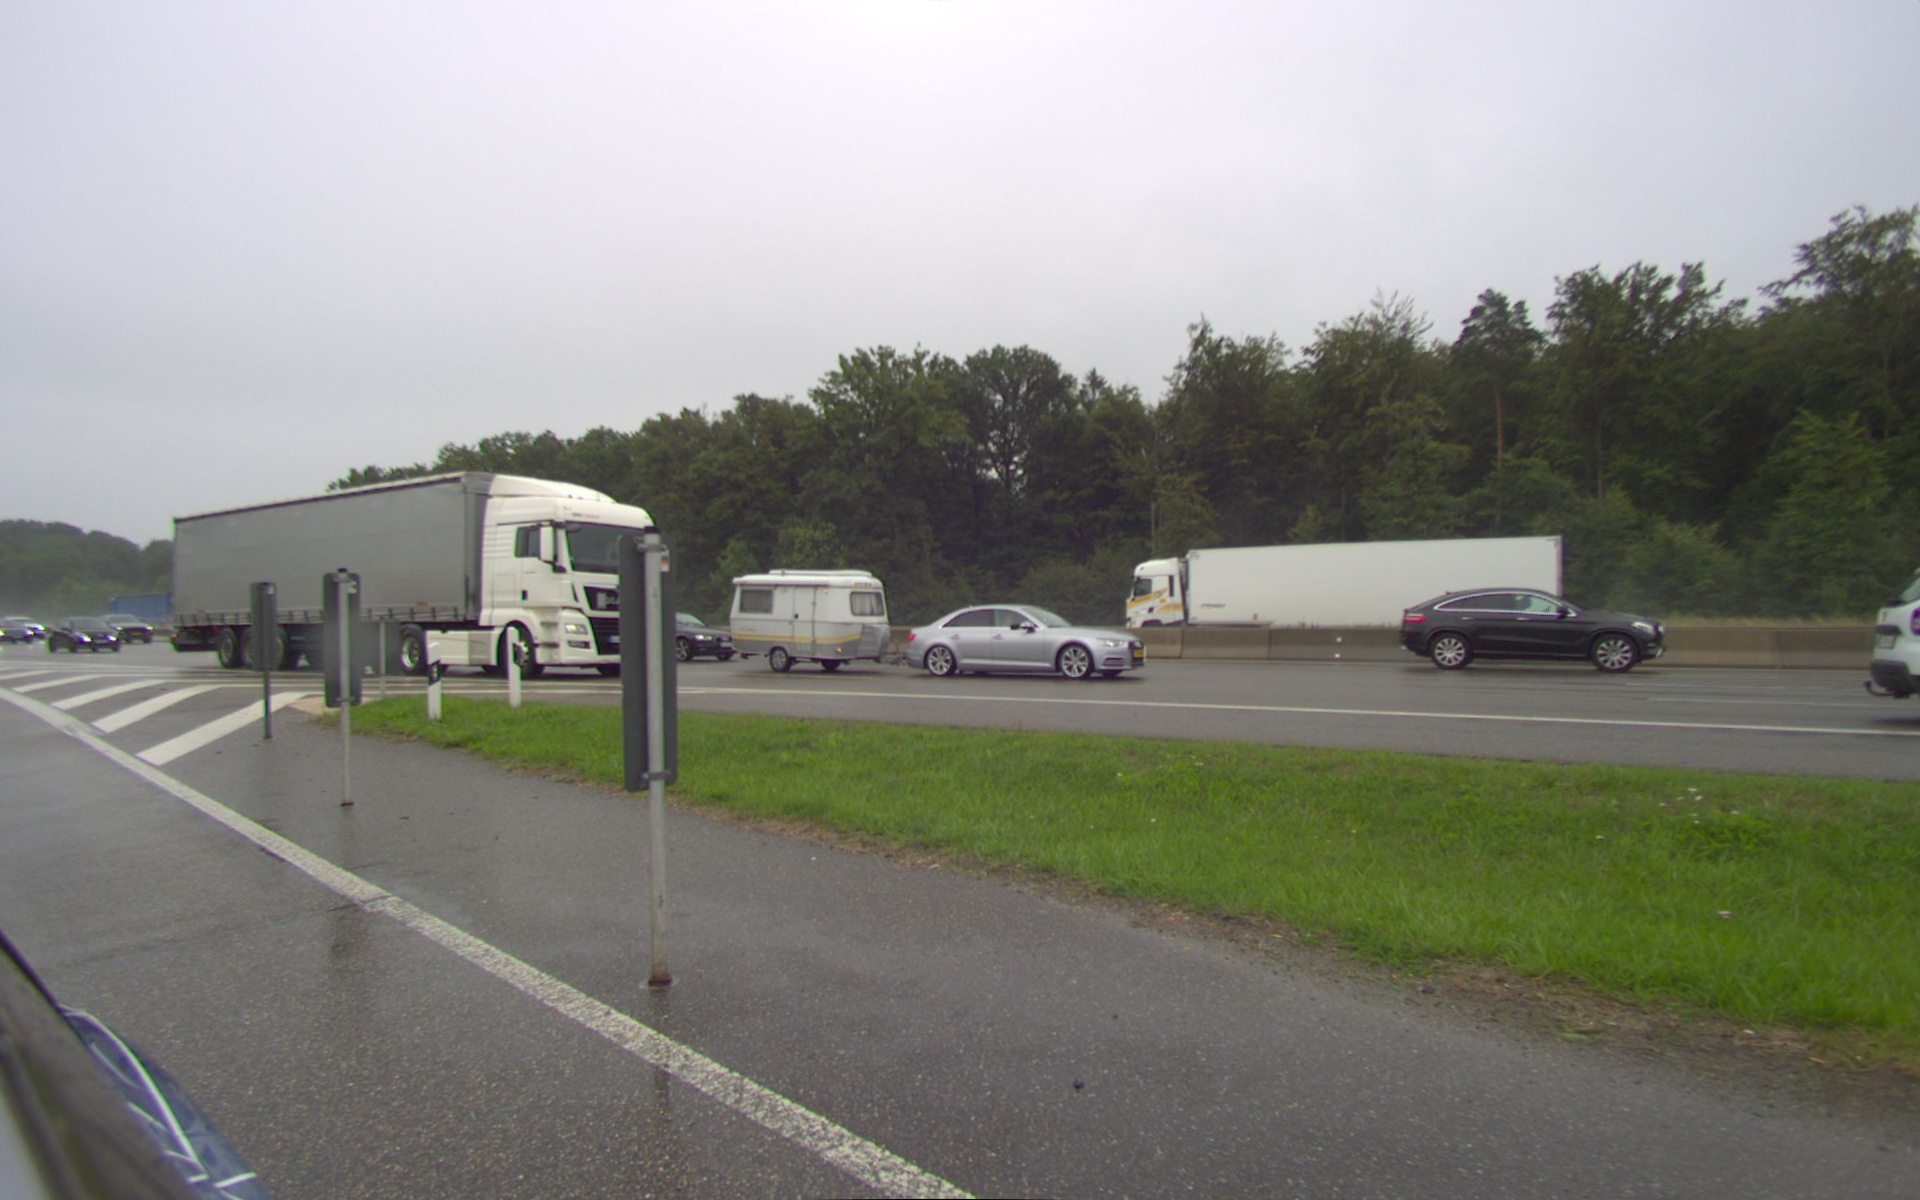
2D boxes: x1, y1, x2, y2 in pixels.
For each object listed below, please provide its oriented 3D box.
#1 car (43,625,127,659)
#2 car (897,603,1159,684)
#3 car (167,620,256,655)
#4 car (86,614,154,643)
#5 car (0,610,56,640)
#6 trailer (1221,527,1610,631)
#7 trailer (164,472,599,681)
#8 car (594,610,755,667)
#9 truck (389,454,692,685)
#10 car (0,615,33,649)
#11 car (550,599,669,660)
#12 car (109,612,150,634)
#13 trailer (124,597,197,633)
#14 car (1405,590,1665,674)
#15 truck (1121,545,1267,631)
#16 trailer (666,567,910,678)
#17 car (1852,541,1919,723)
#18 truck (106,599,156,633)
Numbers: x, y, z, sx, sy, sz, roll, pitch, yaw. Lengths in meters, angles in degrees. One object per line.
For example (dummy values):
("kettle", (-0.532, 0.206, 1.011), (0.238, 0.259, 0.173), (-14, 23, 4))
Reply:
("car", (-37.461, 1.769, 43.285), (3.990, 1.383, 1.802), (-2, -2, 35))
("car", (1.207, 0.802, 18.847), (4.565, 1.358, 1.832), (-2, -3, 31))
("car", (-33.286, 1.691, 45.014), (4.109, 1.425, 1.804), (-3, -3, 32))
("car", (-50.329, 1.703, 60.634), (4.389, 1.681, 1.804), (0, -2, 32))
("car", (-66.404, 1.804, 72.047), (3.986, 2.029, 1.979), (-2, -1, 32))
("trailer", (17.192, -0.613, 39.364), (13.434, 3.524, 2.630), (-1, -1, 31))
("trailer", (-14.492, -0.263, 24.405), (14.072, 4.013, 2.873), (-2, -2, 32))
("car", (-8.297, 1.091, 29.302), (4.513, 1.552, 1.978), (-1, -2, 32))
("truck", (-8.619, -0.455, 20.669), (5.915, 4.083, 2.850), (-2, -2, 32))
("car", (-58.084, 1.922, 61.479), (3.991, 2.029, 1.841), (-1, -1, 36))
("car", (-12.790, 1.074, 36.872), (3.985, 2.028, 1.922), (-2, 1, 31))
("car", (-78.665, 2.182, 95.864), (3.990, 2.029, 1.977), (-1, -2, 35))
("trailer", (-81.972, 1.574, 103.637), (11.372, 3.443, 2.708), (-1, 0, 35))
("car", (11.825, 0.672, 21.044), (4.509, 1.587, 1.692), (-1, -2, 32))
("truck", (10.060, -0.443, 43.630), (5.580, 3.478, 2.628), (-1, -1, 30))
("trailer", (-3.820, 0.535, 22.152), (5.160, 2.172, 2.113), (-2, -3, 31))
("car", (10.615, 0.255, 8.542), (4.308, 1.598, 1.772), (-2, -3, 32))
("truck", (-88.944, 1.728, 108.591), (5.697, 3.441, 2.738), (-1, 0, 35))
